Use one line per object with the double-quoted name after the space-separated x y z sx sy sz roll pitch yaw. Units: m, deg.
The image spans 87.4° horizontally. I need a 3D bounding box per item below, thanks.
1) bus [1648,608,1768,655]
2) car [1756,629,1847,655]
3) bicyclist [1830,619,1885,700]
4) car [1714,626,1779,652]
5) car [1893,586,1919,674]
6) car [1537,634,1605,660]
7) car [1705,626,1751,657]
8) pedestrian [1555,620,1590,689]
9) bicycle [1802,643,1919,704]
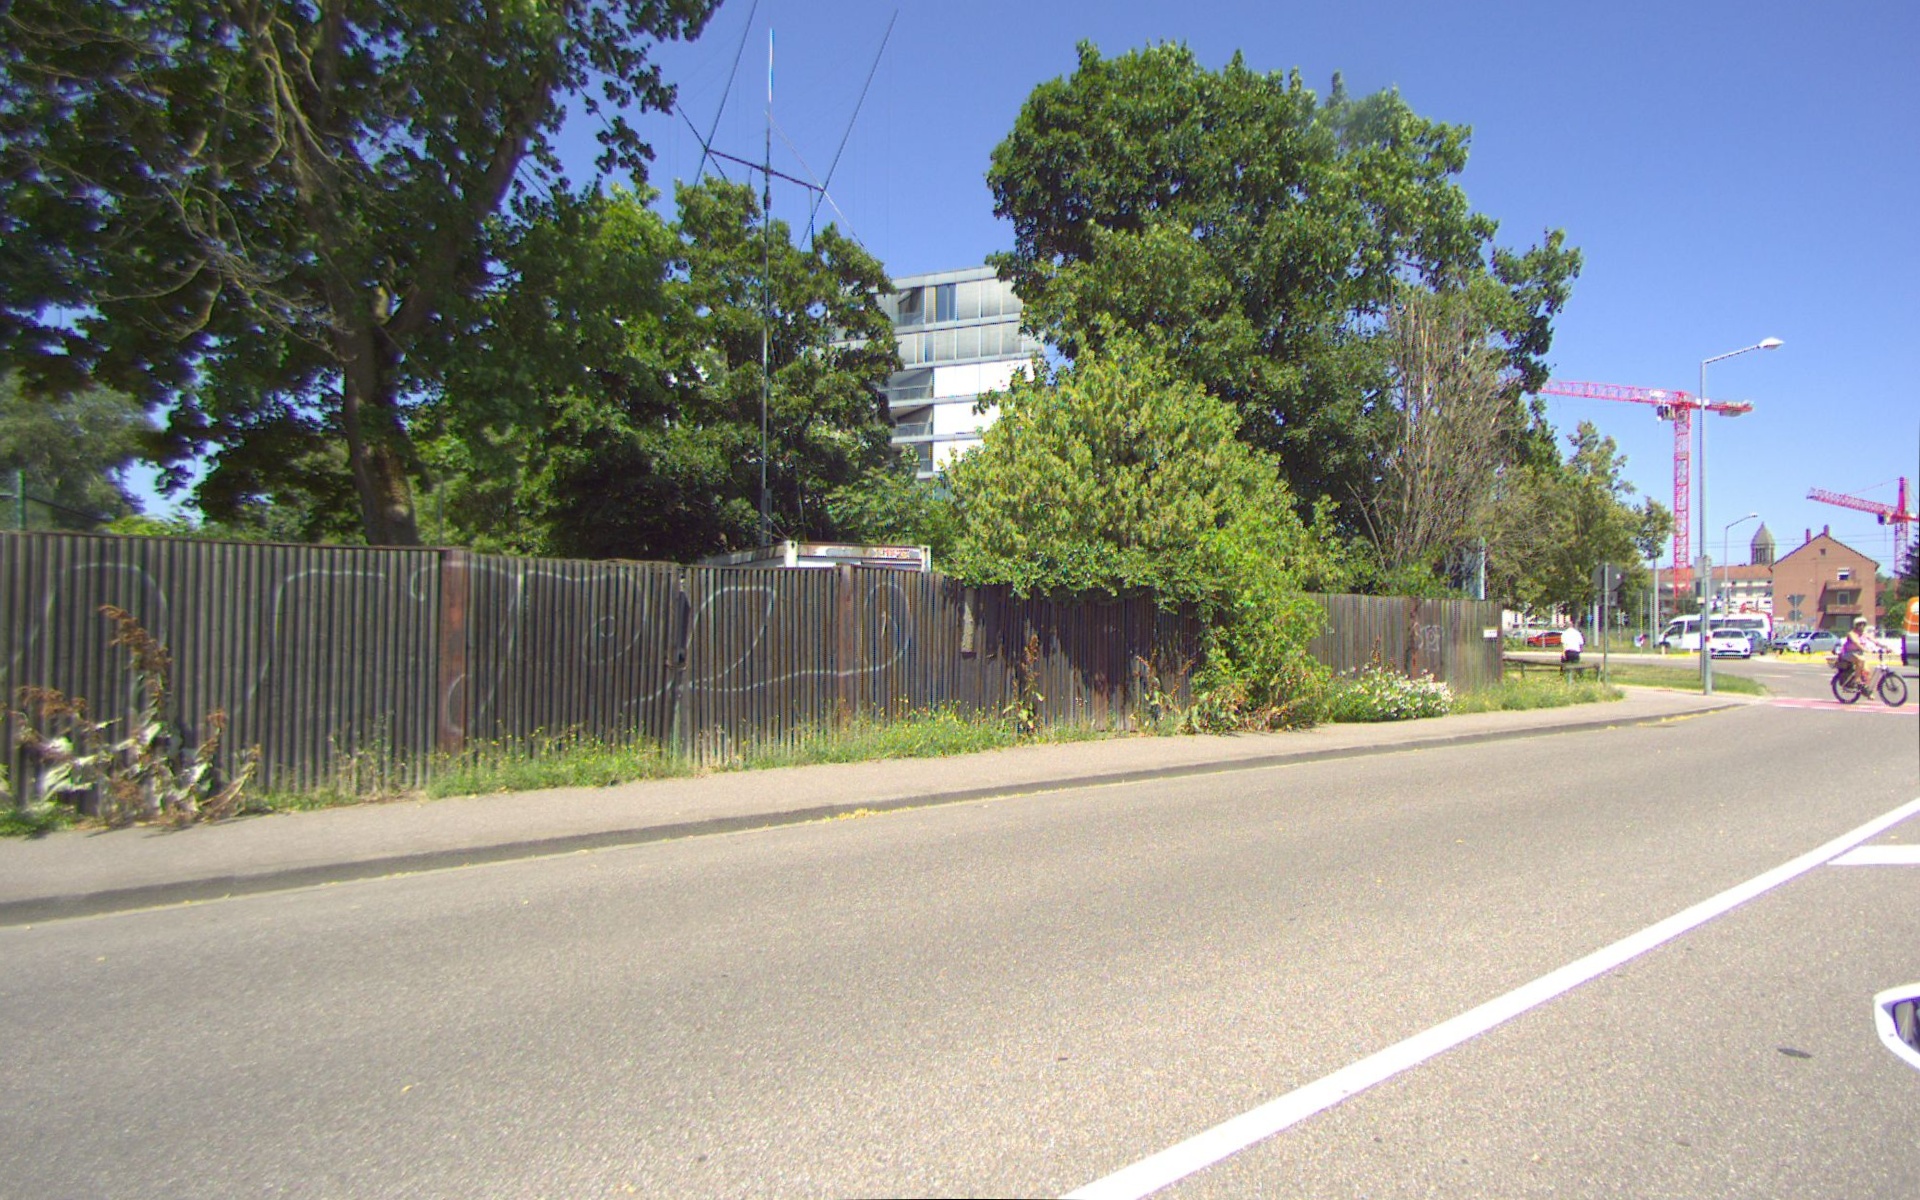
56.601 2.335 76.275 7.157 3.215 2.253 2 0 36 "bus"
51.317 2.554 61.323 4.188 1.421 1.732 2 0 -3 "car"
19.884 1.307 22.265 0.581 1.776 0.671 0 -1 -9 "bicyclist"
45.121 2.257 57.604 4.287 1.390 1.735 2 0 -34 "car"
32.639 1.005 30.276 1.963 2.865 6.874 2 0 -8 "car"
46.491 3.534 76.524 4.366 1.759 1.845 2 0 31 "car"
39.983 2.151 52.349 1.752 1.547 3.859 -1 -2 36 "car"
16.598 1.447 27.240 0.625 1.810 0.969 2 0 23 "pedestrian"
19.891 1.589 22.194 0.622 1.237 2.097 0 -1 -7 "bicycle"
